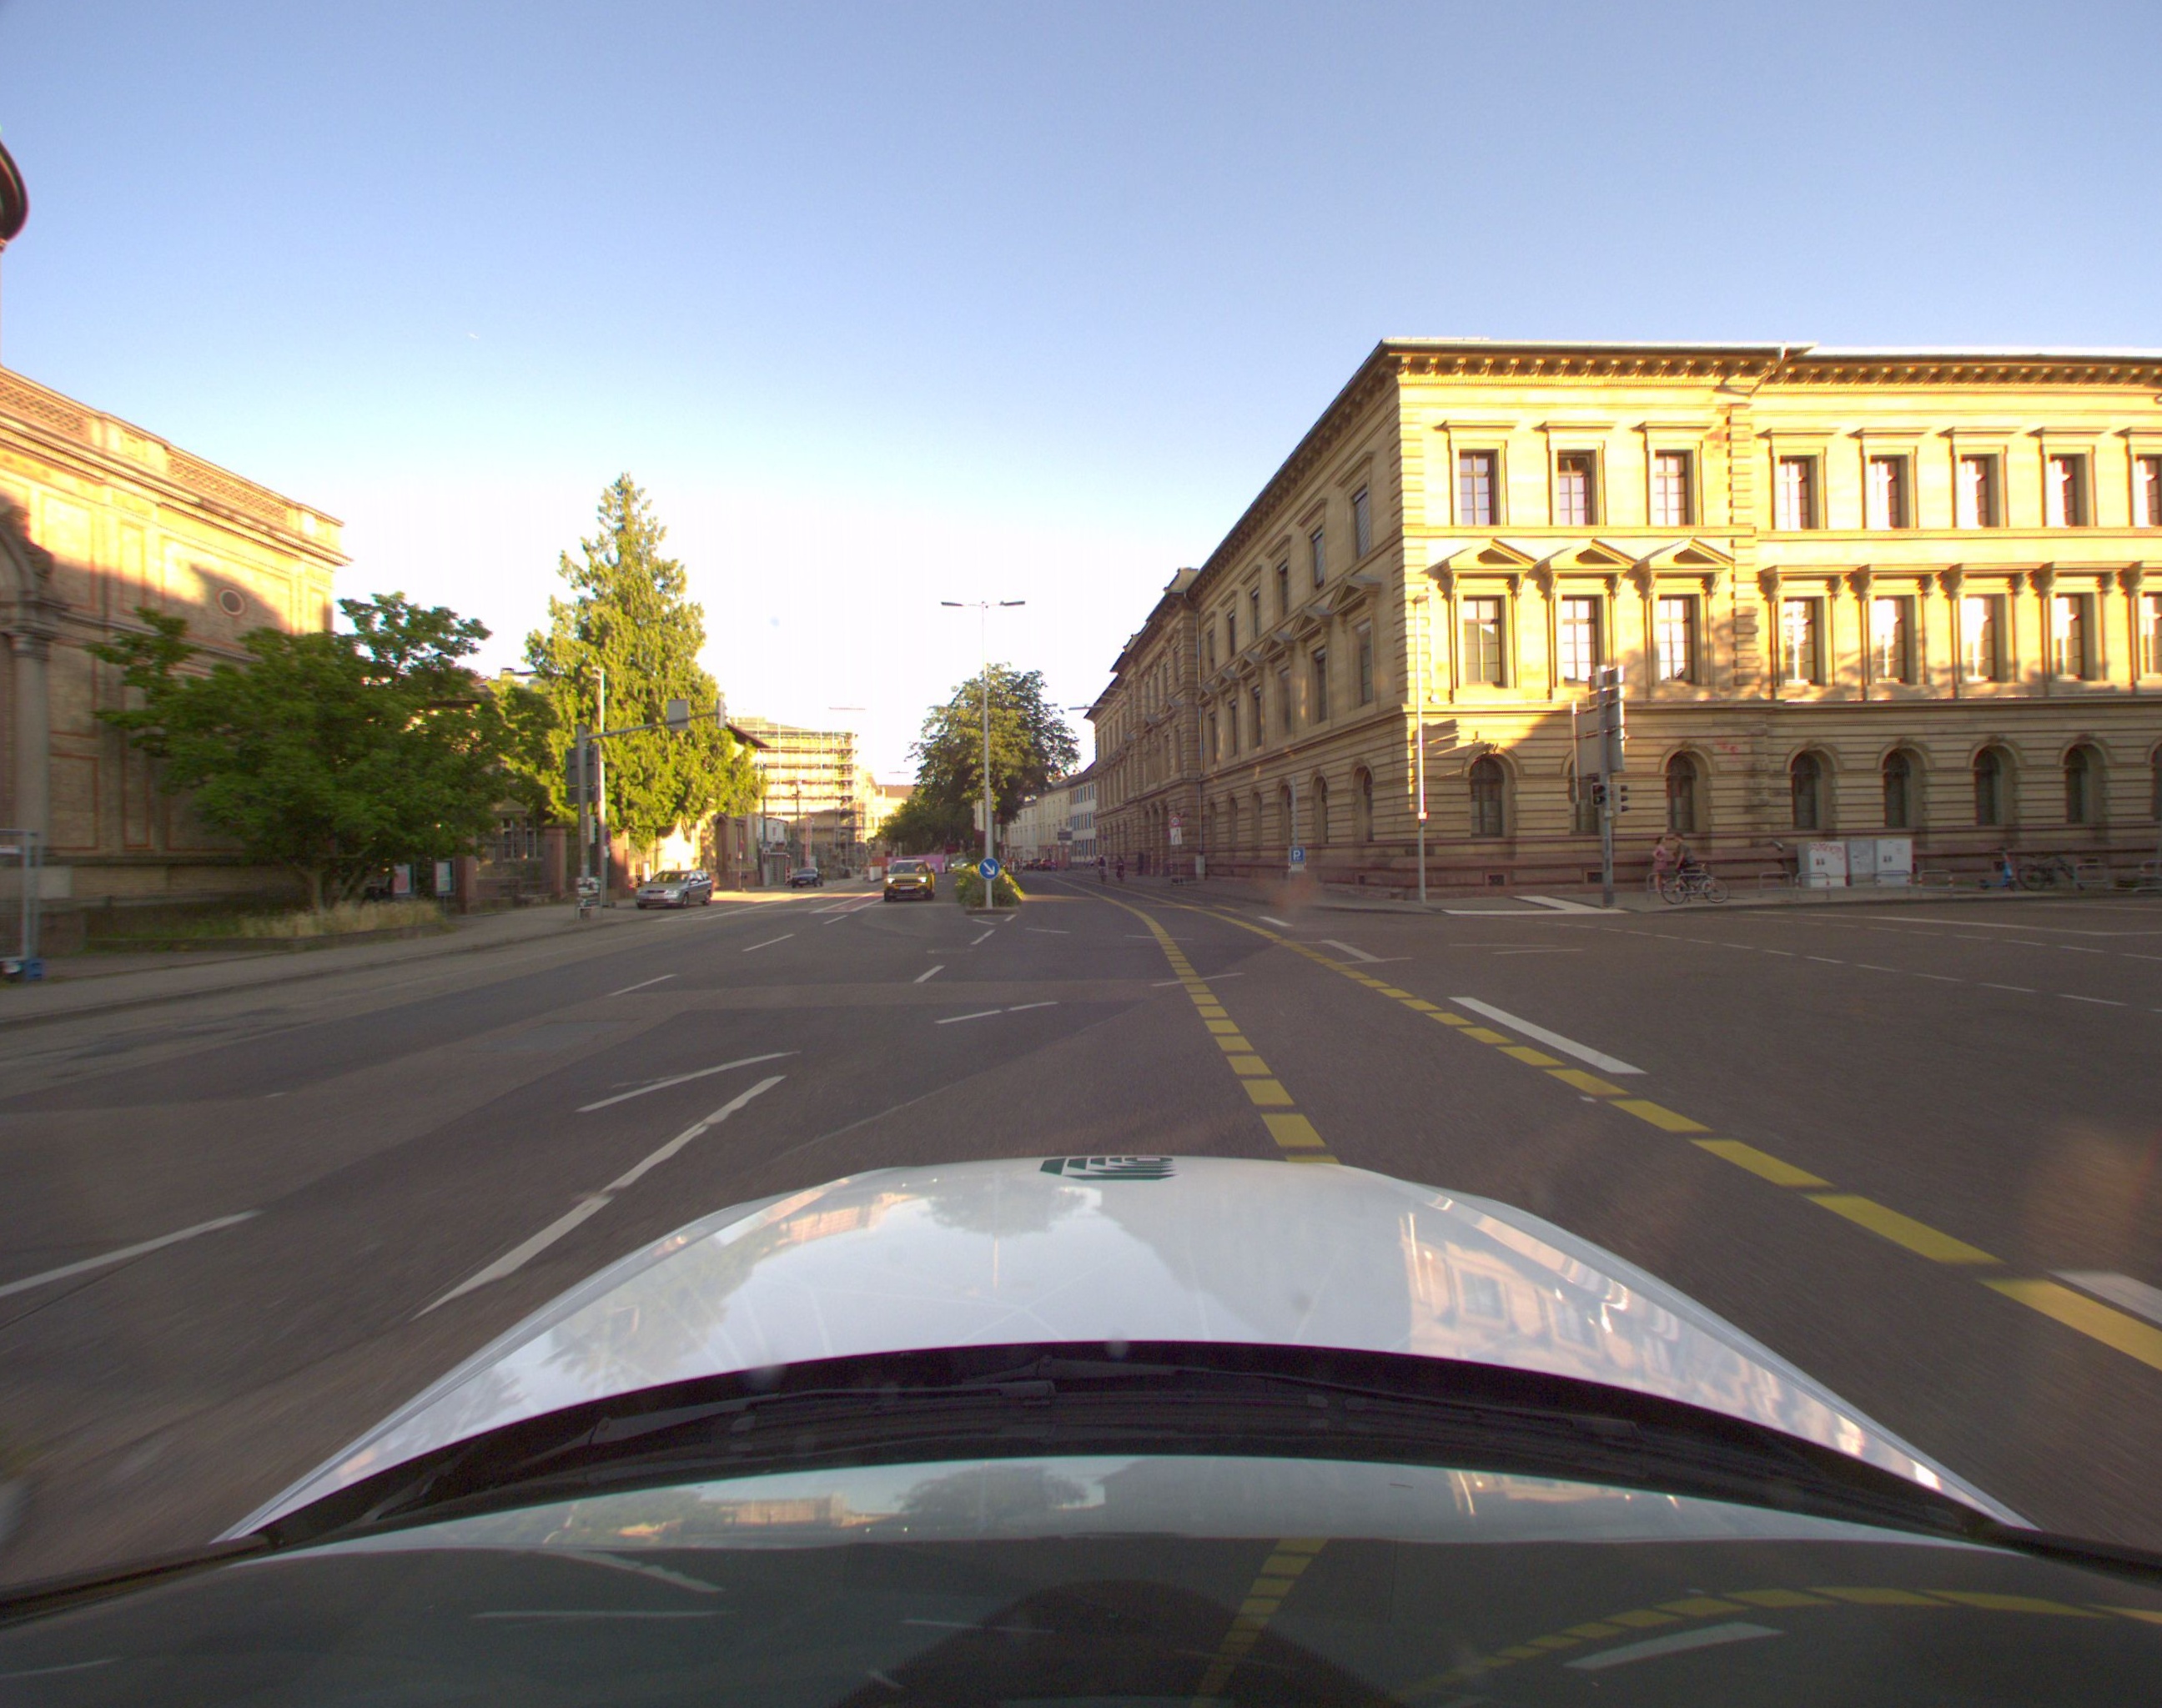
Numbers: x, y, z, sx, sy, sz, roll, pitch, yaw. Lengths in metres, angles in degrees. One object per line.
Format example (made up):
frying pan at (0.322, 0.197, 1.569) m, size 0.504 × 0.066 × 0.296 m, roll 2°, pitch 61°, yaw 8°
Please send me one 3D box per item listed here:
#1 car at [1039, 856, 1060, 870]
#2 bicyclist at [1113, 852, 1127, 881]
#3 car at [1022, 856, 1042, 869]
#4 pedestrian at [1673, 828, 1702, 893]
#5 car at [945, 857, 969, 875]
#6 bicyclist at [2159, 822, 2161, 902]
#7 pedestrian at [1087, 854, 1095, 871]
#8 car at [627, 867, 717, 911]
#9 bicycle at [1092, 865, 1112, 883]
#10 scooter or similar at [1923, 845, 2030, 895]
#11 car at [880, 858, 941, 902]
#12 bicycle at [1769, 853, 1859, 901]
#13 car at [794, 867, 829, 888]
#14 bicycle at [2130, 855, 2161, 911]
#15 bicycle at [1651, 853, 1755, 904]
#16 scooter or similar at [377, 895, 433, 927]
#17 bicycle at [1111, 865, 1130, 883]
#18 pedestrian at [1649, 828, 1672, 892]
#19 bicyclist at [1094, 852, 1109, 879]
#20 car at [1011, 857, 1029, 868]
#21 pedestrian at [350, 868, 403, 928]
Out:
car at (-4.202, 1.197, 107.308) m, size 1.817 × 1.682 × 3.896 m, roll -1°, pitch -1°, yaw -17°
bicyclist at (2.345, 0.757, 49.118) m, size 0.650 × 1.760 × 0.861 m, roll 1°, pitch -1°, yaw -12°
car at (-6.921, 1.214, 115.087) m, size 1.817 × 1.684 × 3.976 m, roll -1°, pitch -1°, yaw -18°
pedestrian at (17.578, 0.183, 23.609) m, size 0.529 × 1.858 × 0.626 m, roll -2°, pitch -1°, yaw 27°
car at (-12.899, 1.215, 85.041) m, size 1.838 × 1.674 × 4.553 m, roll -3°, pitch 0°, yaw -2°
bicyclist at (22.640, 0.147, 16.228) m, size 1.040 × 1.632 × 0.968 m, roll -1°, pitch 0°, yaw -4°
pedestrian at (1.065, 0.913, 86.342) m, size 0.815 × 1.765 × 1.037 m, roll 0°, pitch 0°, yaw -3°
car at (-15.791, 1.294, 31.693) m, size 1.742 × 1.547 × 4.359 m, roll 0°, pitch 0°, yaw -7°
bicycle at (1.212, 1.168, 47.917) m, size 0.670 × 1.071 × 1.892 m, roll 0°, pitch -1°, yaw -14°
scooter or similar at (25.215, 0.437, 22.983) m, size 0.917 × 1.327 × 1.911 m, roll -1°, pitch 0°, yaw 2°
car at (-6.617, 0.971, 31.937) m, size 1.843 × 1.547 × 4.110 m, roll -2°, pitch 0°, yaw -6°
bicycle at (18.906, 0.588, 21.025) m, size 1.718 × 1.144 × 0.696 m, roll -1°, pitch 2°, yaw -1°
car at (-18.622, 1.600, 56.425) m, size 1.680 × 1.351 × 3.874 m, roll -3°, pitch 0°, yaw -10°
bicycle at (22.728, 0.551, 16.247) m, size 2.571 × 1.105 × 0.975 m, roll -1°, pitch 0°, yaw -5°
bicycle at (16.027, 0.619, 21.021) m, size 2.044 × 1.207 × 0.862 m, roll -2°, pitch 2°, yaw -1°
scooter or similar at (-18.199, 1.523, 21.948) m, size 0.676 × 0.777 × 1.027 m, roll -1°, pitch 0°, yaw -5°
bicycle at (2.367, 1.186, 49.041) m, size 0.653 × 1.071 × 2.249 m, roll 1°, pitch -1°, yaw -11°
pedestrian at (17.059, 0.179, 23.980) m, size 0.452 × 1.858 × 0.422 m, roll -1°, pitch -1°, yaw -40°
bicyclist at (1.212, 0.674, 47.876) m, size 0.670 × 1.566 × 0.695 m, roll 1°, pitch -1°, yaw -14°
car at (-9.270, 1.248, 123.198) m, size 1.818 × 1.560 × 3.840 m, roll -1°, pitch -1°, yaw -19°
pedestrian at (-18.961, 1.169, 21.925) m, size 0.734 × 1.579 × 0.761 m, roll -1°, pitch 0°, yaw -5°
